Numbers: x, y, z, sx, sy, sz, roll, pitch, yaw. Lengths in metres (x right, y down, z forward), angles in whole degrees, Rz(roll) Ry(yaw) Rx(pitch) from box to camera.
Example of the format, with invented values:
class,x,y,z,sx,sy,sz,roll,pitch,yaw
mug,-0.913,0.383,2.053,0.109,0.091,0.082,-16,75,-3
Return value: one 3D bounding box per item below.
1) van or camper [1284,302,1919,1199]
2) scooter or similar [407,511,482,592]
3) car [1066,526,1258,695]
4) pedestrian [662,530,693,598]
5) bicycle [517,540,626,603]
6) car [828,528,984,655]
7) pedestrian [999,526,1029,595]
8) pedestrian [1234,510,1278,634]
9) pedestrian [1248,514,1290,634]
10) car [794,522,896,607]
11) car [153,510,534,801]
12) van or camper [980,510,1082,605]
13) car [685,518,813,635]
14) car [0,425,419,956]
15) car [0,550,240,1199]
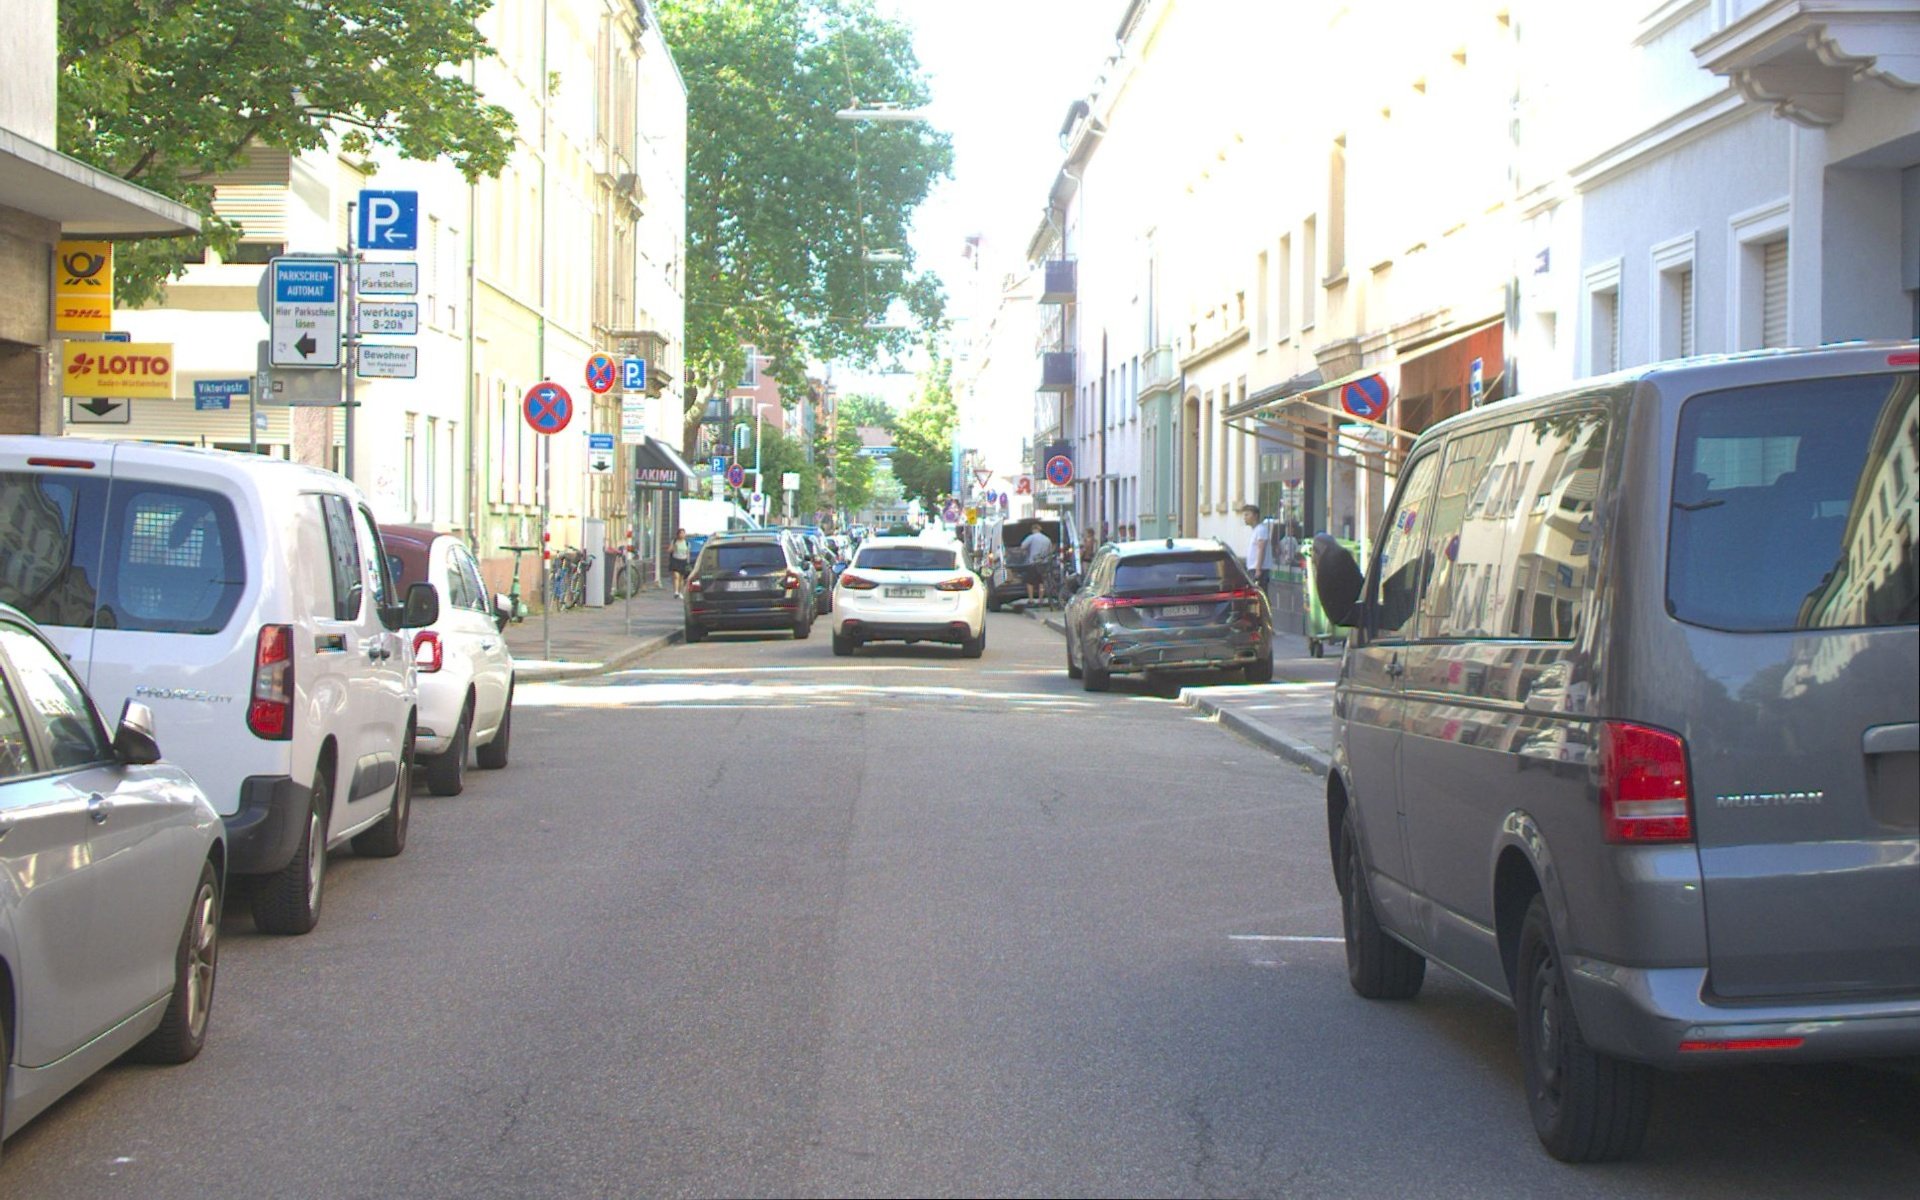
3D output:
class,x,y,z,sx,sy,sz,roll,pitch,yaw
van or camper,2.158,0.323,9.833,1.775,2.029,4.571,-1,1,-3
scooter or similar,-10.032,-0.934,66.914,0.511,1.552,1.604,2,1,31
car,1.964,0.064,34.329,1.647,1.571,3.679,1,1,0
pedestrian,-6.089,-0.777,74.034,0.627,1.459,0.575,0,0,-1
bicycle,-7.080,-0.524,62.739,1.949,1.111,0.512,1,1,-35
car,-0.639,-0.135,42.644,1.834,1.481,4.057,1,1,0
pedestrian,1.157,-0.842,73.421,0.627,1.459,0.575,0,0,-1
pedestrian,4.135,-0.394,47.944,0.528,1.721,0.489,0,0,15
pedestrian,4.477,-0.377,49.788,0.528,1.721,0.489,0,0,15
car,-2.258,-0.684,66.402,1.866,1.556,4.521,1,1,-3
car,-3.603,0.267,20.663,1.647,1.571,3.679,1,1,0
van or camper,1.462,-0.873,71.949,1.993,1.919,4.000,0,0,-1
car,-3.004,-0.362,49.461,1.624,1.591,3.580,1,1,-1
car,-3.248,0.277,14.096,1.647,1.861,4.001,1,1,-4
car,-2.960,0.622,8.202,1.758,1.411,4.001,-1,1,-2
